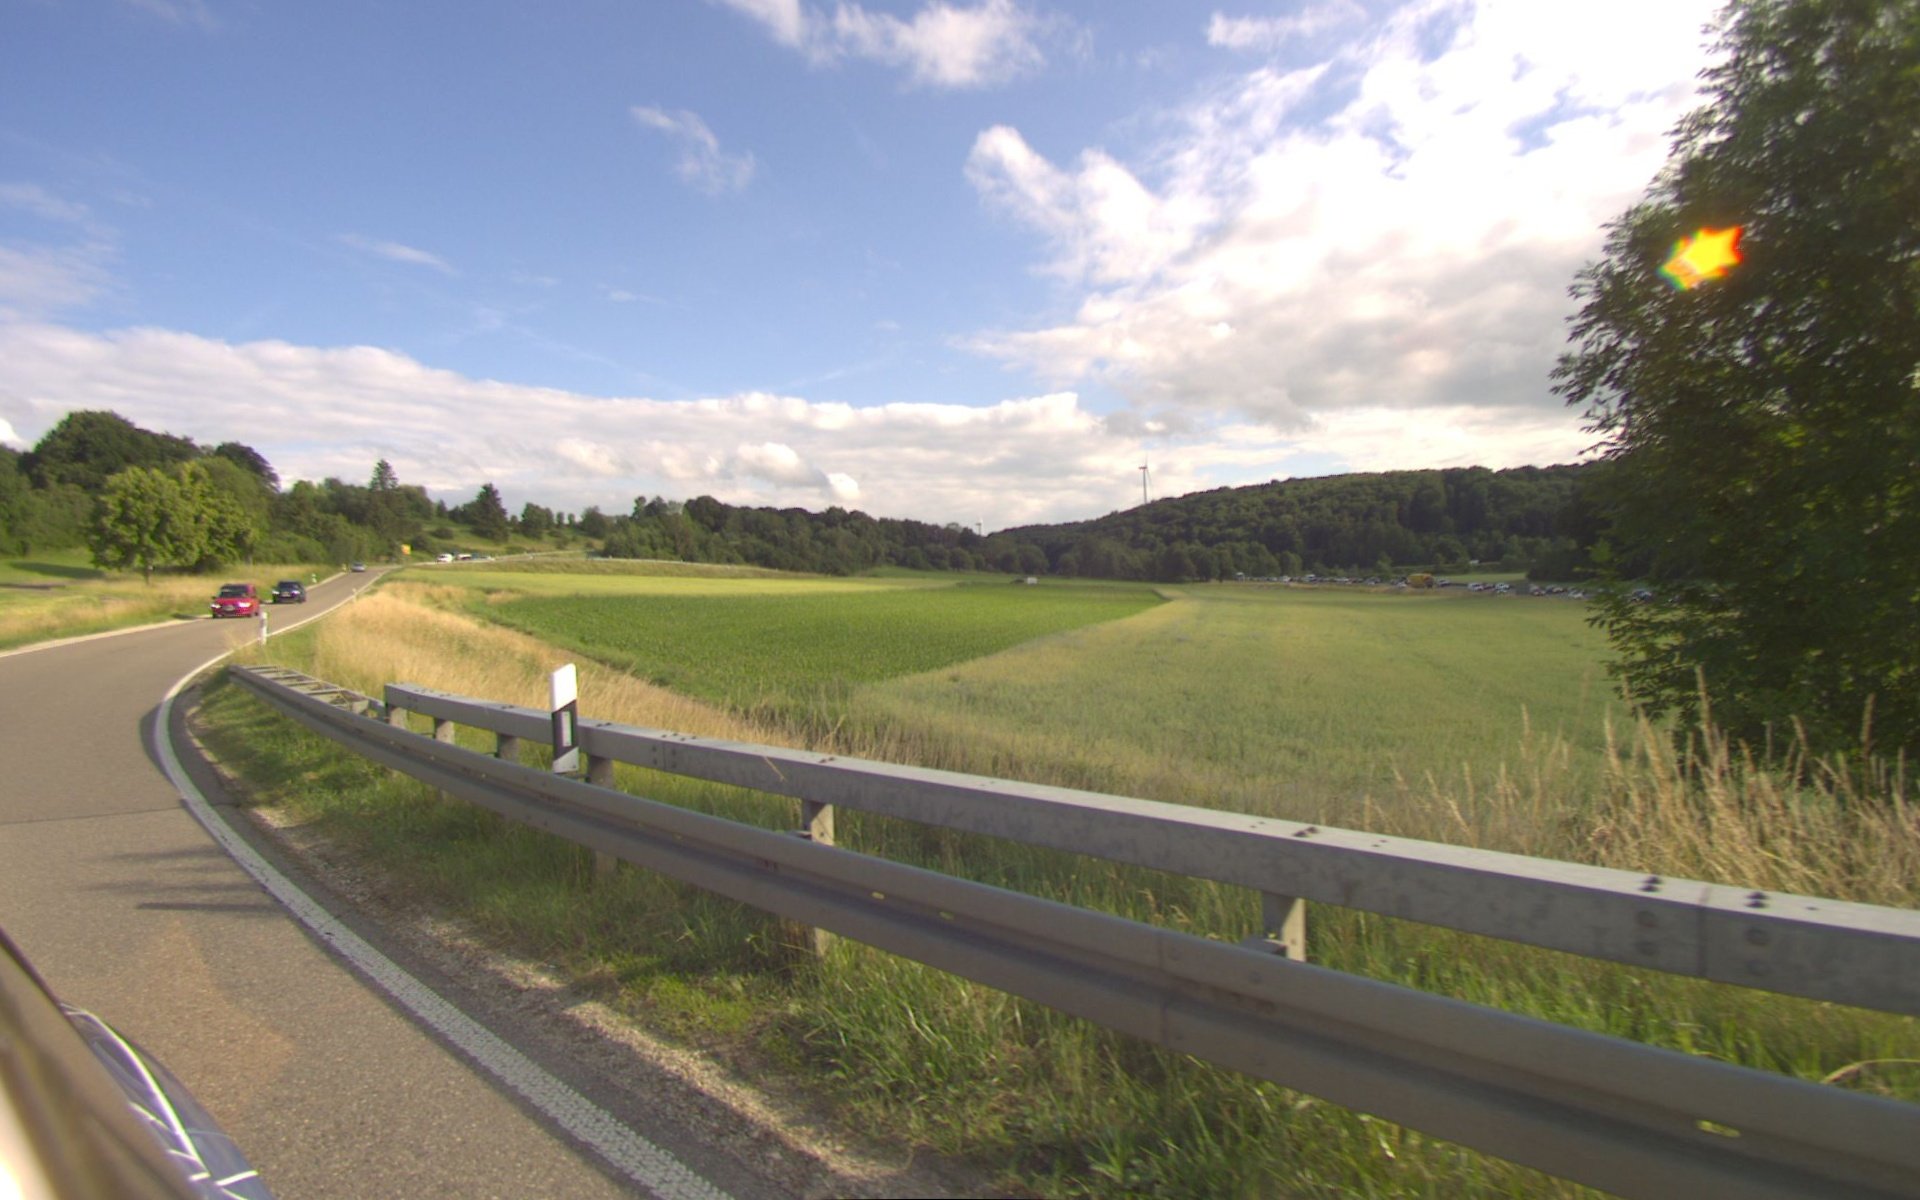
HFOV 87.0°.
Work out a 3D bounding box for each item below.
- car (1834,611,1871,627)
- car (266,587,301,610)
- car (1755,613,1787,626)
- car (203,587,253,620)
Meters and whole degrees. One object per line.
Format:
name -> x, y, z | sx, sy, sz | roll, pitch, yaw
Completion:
car -> 103.555, 2.175, 117.507 | 1.788, 1.599, 3.976 | -1, 2, 19
car -> -50.224, -0.113, 75.196 | 1.791, 1.623, 4.013 | 0, 1, -29
car -> 101.242, 2.455, 126.344 | 1.814, 1.453, 3.975 | -2, 1, 19
car -> -39.698, 0.160, 54.964 | 1.791, 1.667, 4.012 | 0, 1, -30
